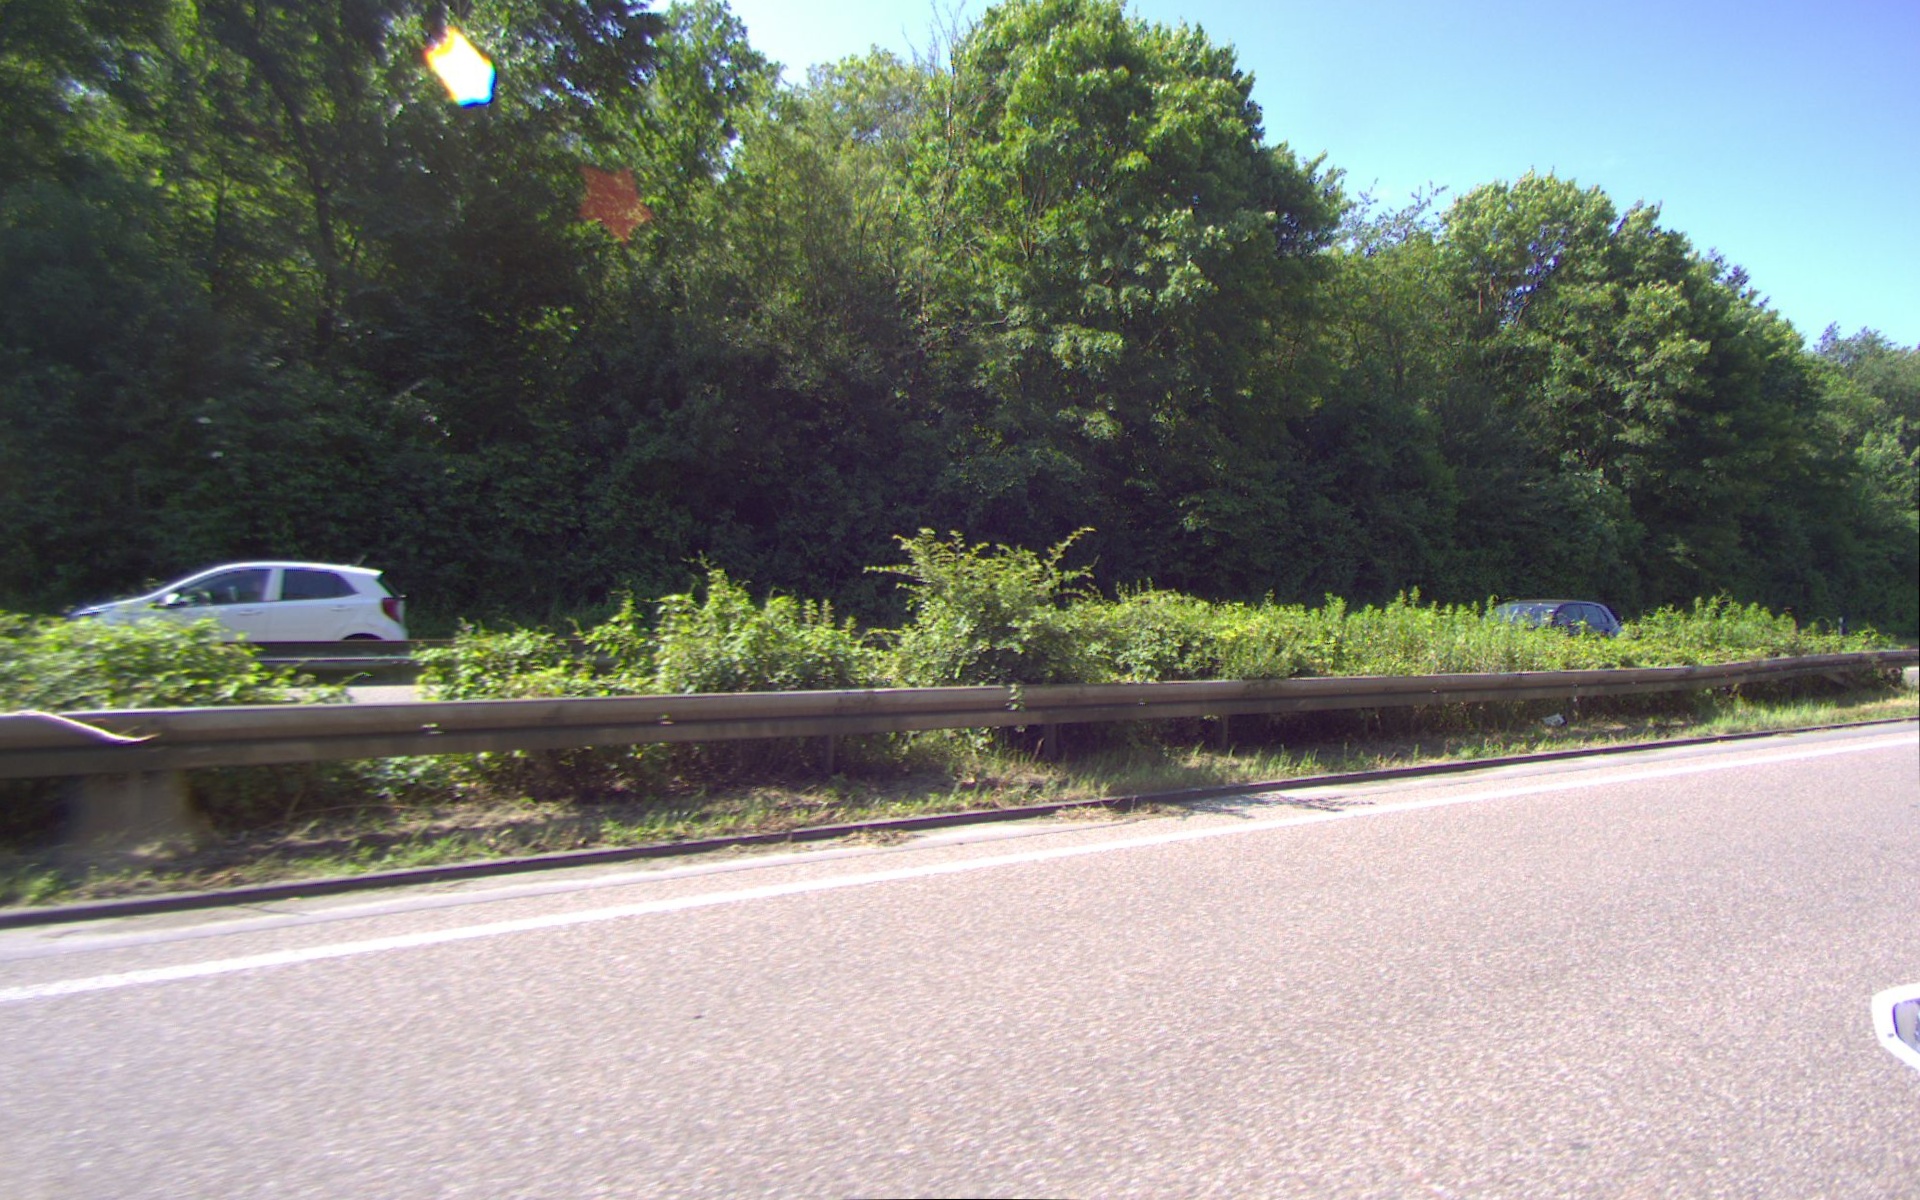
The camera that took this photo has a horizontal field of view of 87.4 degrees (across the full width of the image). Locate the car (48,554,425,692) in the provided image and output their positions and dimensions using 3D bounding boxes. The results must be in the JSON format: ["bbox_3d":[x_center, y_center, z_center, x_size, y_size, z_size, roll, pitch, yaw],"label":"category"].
[{"bbox_3d":[-8.718,0.282,12.520,3.578,1.493,1.665,1,0,-29],"label":"car"}]

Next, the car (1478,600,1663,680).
[{"bbox_3d":[12.485,0.784,20.517,3.578,1.493,1.665,1,0,-29],"label":"car"}]
